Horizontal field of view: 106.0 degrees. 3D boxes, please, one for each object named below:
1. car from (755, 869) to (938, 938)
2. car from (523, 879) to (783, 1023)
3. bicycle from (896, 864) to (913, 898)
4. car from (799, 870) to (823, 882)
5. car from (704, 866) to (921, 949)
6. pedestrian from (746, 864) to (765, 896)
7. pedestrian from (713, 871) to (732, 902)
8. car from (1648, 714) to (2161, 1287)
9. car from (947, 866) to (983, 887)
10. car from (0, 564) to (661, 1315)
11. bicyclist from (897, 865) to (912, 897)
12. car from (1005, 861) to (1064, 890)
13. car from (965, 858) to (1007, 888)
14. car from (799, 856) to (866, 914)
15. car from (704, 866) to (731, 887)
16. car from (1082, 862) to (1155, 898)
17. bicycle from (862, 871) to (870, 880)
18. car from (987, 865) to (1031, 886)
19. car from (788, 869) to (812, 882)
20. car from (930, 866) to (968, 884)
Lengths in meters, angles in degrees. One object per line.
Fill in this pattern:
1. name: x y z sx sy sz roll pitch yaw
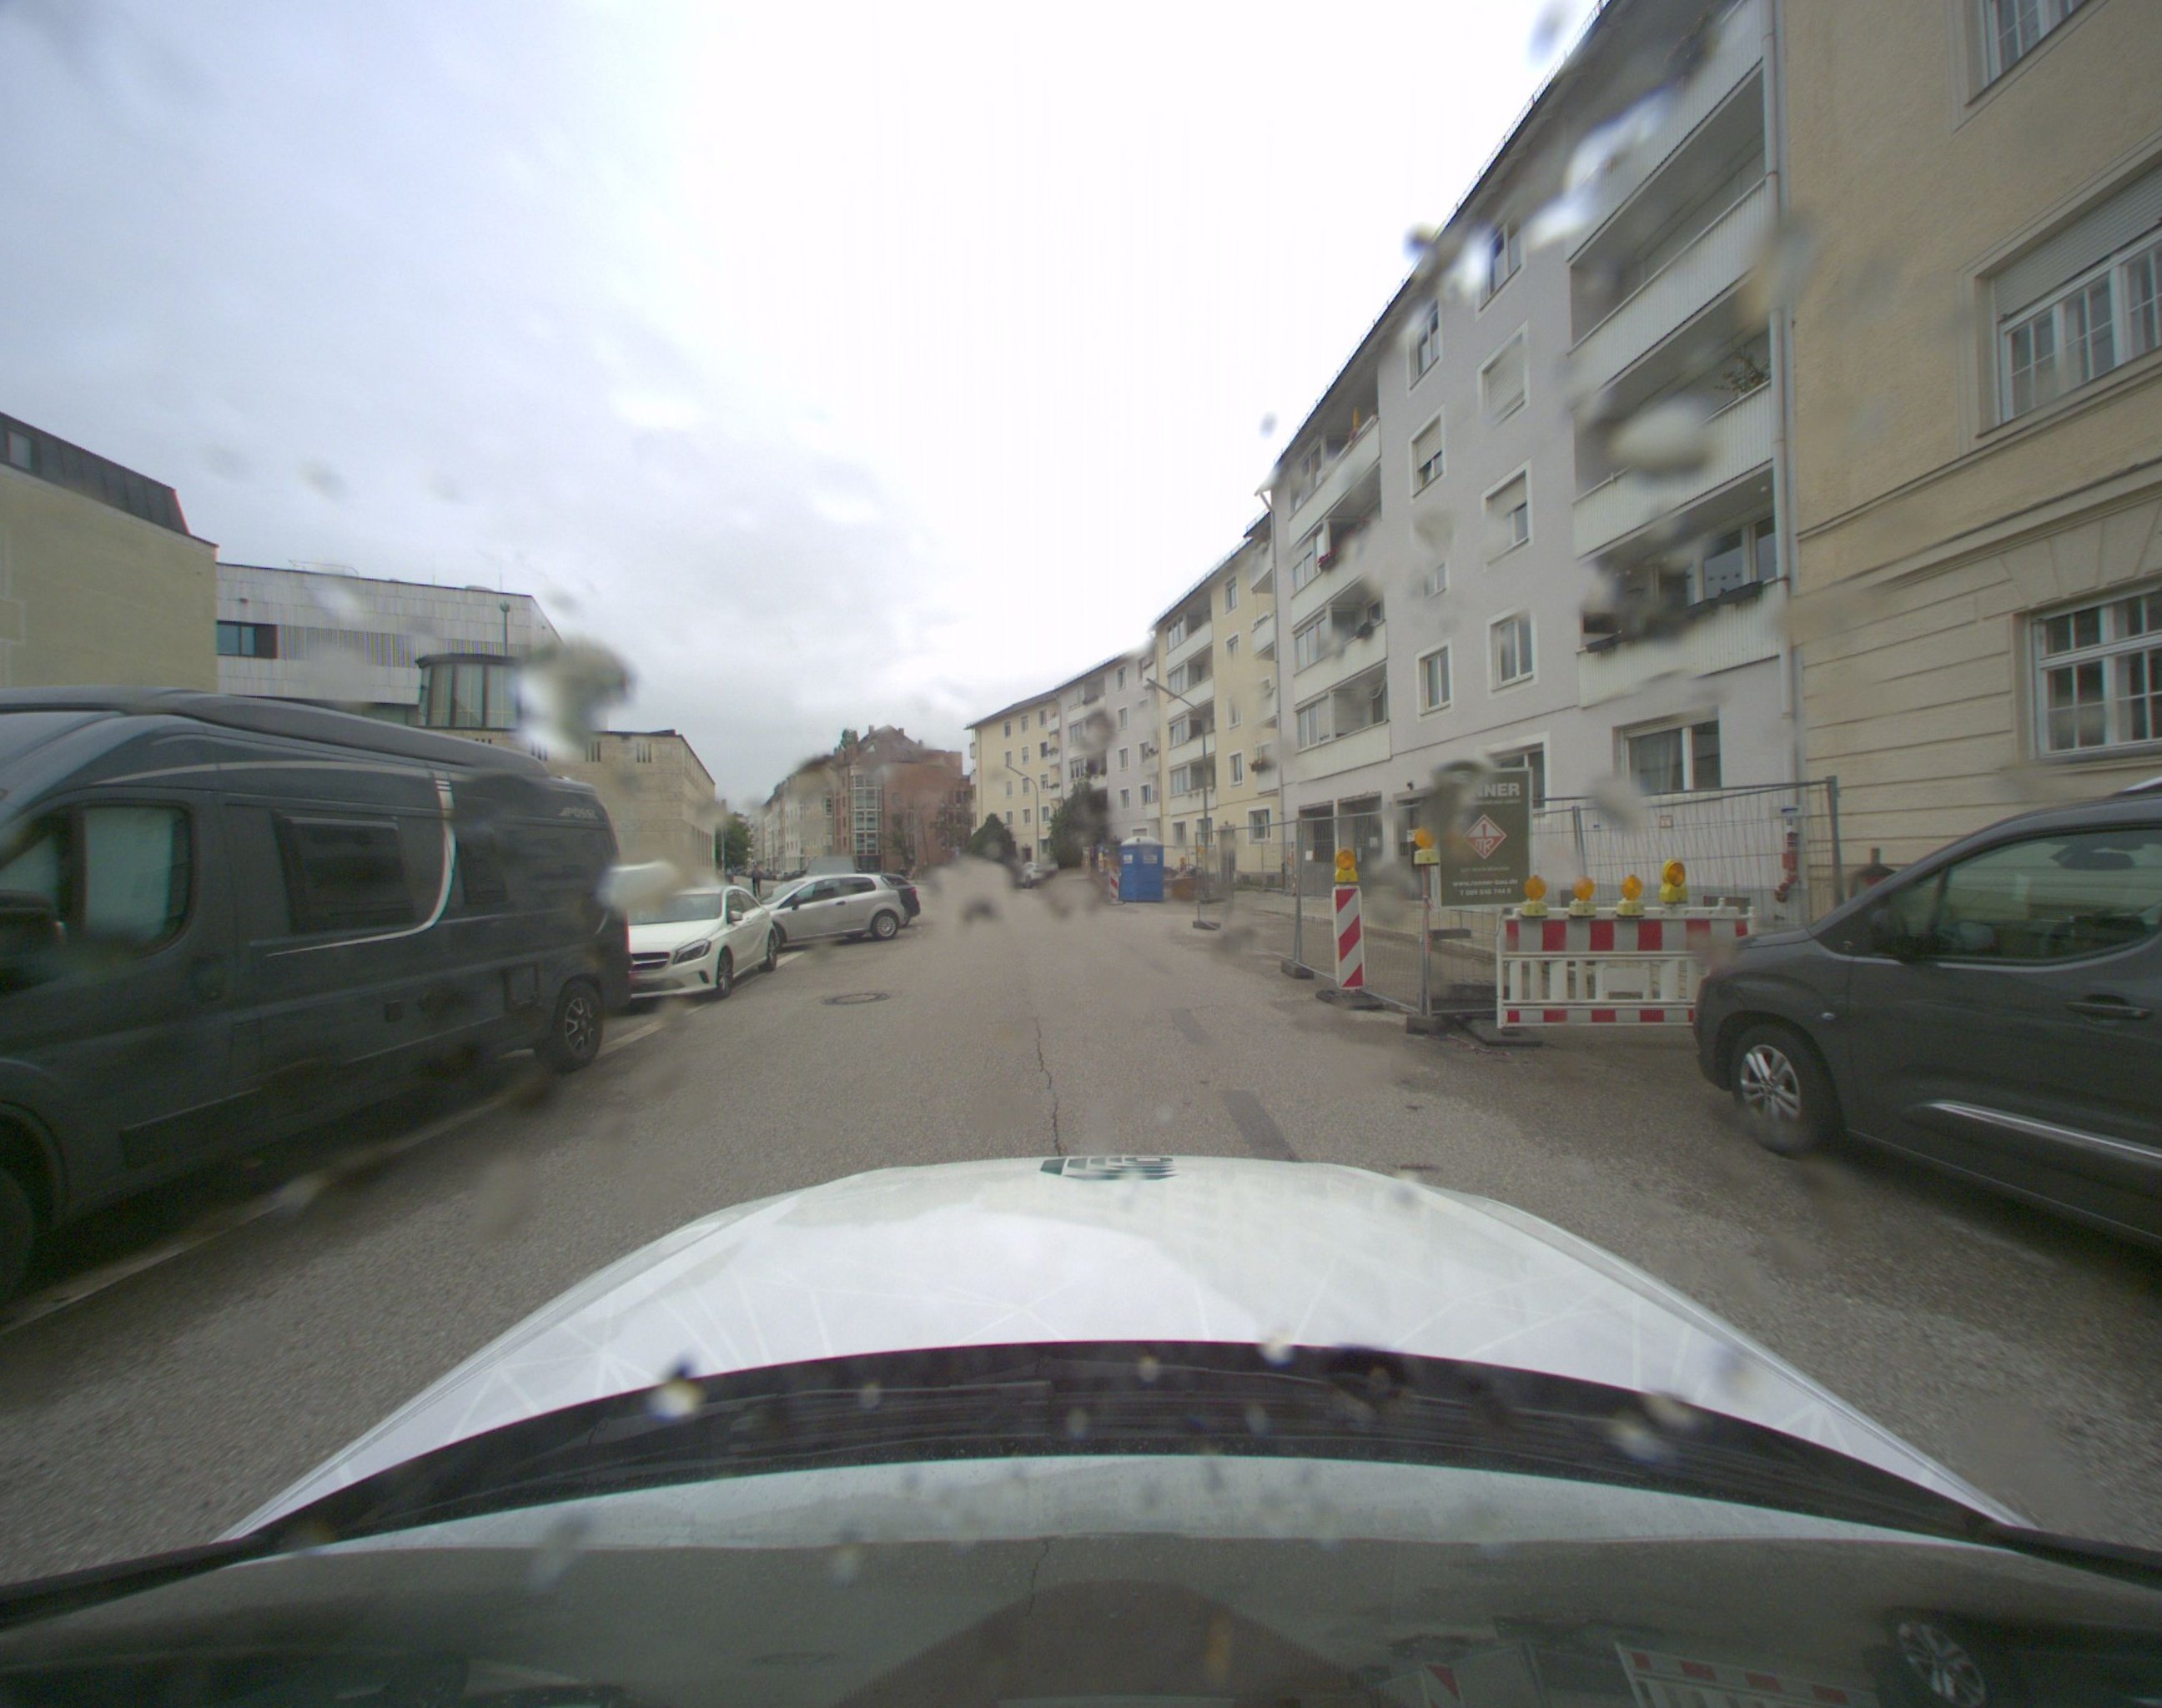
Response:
1. car: -5.819 1.189 20.471 4.030 1.373 1.728 -3 -1 -44
2. car: -5.595 1.157 11.307 1.827 1.387 4.129 -5 0 -9
3. bicycle: -9.754 1.450 44.937 0.796 1.722 3.102 -3 1 -12
4. car: -35.944 2.892 108.418 1.843 1.602 4.220 1 -1 -35
5. car: -5.558 1.042 17.128 4.003 1.530 1.655 1 -1 -41
6. pedestrian: -17.681 1.420 44.231 0.795 1.740 0.816 1 -1 -15
7. pedestrian: -18.619 1.673 42.294 0.598 1.601 0.648 0 -2 40
8. car: 4.316 0.472 2.788 1.830 1.799 4.237 1 -1 0
9. car: -9.144 1.779 63.915 1.666 1.566 4.477 1 -2 -25
10. car: -4.903 0.348 4.570 2.140 2.574 6.202 -2 -1 -4
11. bicyclist: -9.709 1.471 44.739 0.748 1.717 1.027 -2 0 -12
12. car: -2.899 1.275 49.859 2.036 1.678 4.574 1 -1 -25
13. car: -6.913 1.339 58.931 1.756 2.082 4.479 1 -1 -25
14. car: -8.521 1.008 27.991 1.998 1.772 4.787 -1 0 -17
15. car: -49.478 3.060 110.906 2.439 2.715 5.891 -2 -1 -33
16. car: 1.528 1.085 35.265 1.834 1.442 4.604 1 -1 -15
17. bicycle: -28.662 2.880 108.557 0.489 1.060 1.974 1 -3 -34
18. car: -4.855 1.440 54.559 1.668 1.349 3.769 1 -3 -28
19. car: -38.825 2.960 112.560 1.979 1.602 4.621 1 -1 -35
20. car: -11.068 1.769 68.117 1.765 1.396 4.004 1 -3 -31
